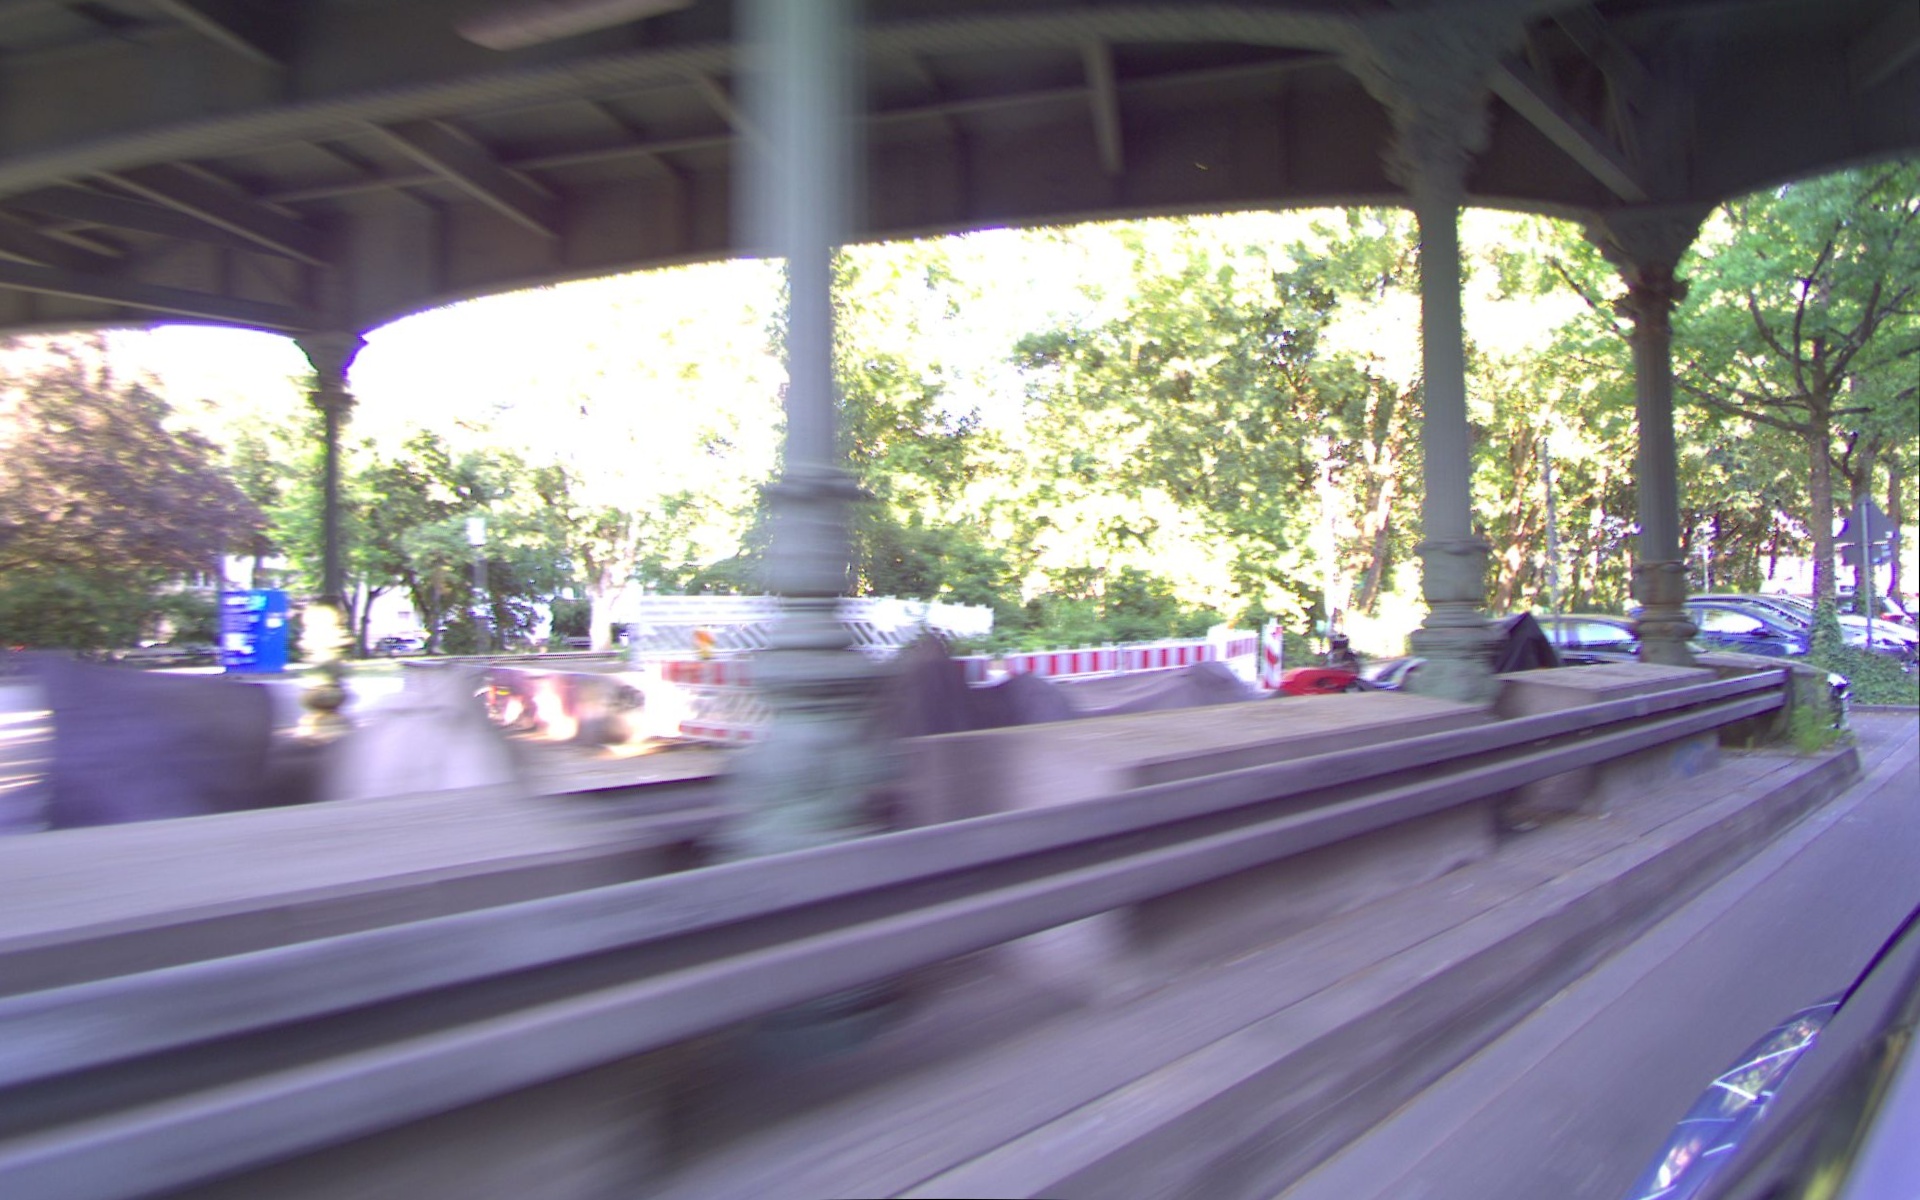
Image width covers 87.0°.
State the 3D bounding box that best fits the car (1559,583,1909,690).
[{"bbox_3d":[13.483,0.602,17.922,1.703,1.626,4.597,-2,0,-38],"label":"car"}]

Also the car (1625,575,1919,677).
[{"bbox_3d":[15.616,0.533,19.463,4.373,1.730,1.877,-4,-1,45],"label":"car"}]

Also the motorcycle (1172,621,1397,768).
[{"bbox_3d":[2.733,0.799,8.685,1.701,1.147,0.709,-3,-1,15],"label":"motorcycle"}]

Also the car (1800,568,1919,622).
[{"bbox_3d":[33.188,-0.192,36.562,1.766,1.780,3.996,-2,-1,-37],"label":"car"}]

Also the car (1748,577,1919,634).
[{"bbox_3d":[27.604,0.197,31.929,1.636,1.594,3.994,-2,-1,-39],"label":"car"}]

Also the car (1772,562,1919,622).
[{"bbox_3d":[31.178,-0.312,34.989,1.841,1.948,4.676,-2,2,-43],"label":"car"}]

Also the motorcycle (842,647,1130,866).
[{"bbox_3d":[0.140,0.904,6.227,1.592,1.147,0.704,-4,-1,32],"label":"motorcycle"}]

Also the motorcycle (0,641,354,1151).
[{"bbox_3d":[-2.845,0.890,3.784,0.698,1.426,1.608,-2,-1,-22],"label":"motorcycle"}]

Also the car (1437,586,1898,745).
[{"bbox_3d":[8.536,0.768,12.550,1.647,1.597,4.377,-2,-1,-43],"label":"car"}]

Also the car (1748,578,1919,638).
[{"bbox_3d":[26.110,0.252,30.068,1.561,1.594,3.989,-2,-1,-43],"label":"car"}]

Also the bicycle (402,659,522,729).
[{"bbox_3d":[-6.981,1.306,14.187,1.593,0.869,0.521,1,0,18],"label":"bicycle"}]

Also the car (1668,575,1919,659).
[{"bbox_3d":[19.099,0.419,23.053,1.876,1.717,4.535,-2,-1,-43],"label":"car"}]

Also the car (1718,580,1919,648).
[{"bbox_3d":[22.454,0.396,26.384,1.561,1.594,4.023,-2,-1,-43],"label":"car"}]

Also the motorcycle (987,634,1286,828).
[{"bbox_3d":[1.205,0.856,6.922,1.818,1.147,0.843,-3,-1,25],"label":"motorcycle"}]

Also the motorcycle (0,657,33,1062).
[{"bbox_3d":[-3.541,0.915,2.935,0.698,1.426,1.608,-2,-1,-22],"label":"motorcycle"}]

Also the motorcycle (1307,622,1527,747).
[{"bbox_3d":[4.229,0.782,9.506,1.701,1.043,0.809,-3,-1,15],"label":"motorcycle"}]

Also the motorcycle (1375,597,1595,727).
[{"bbox_3d":[5.439,0.645,10.646,1.914,1.254,0.897,-3,-1,24],"label":"motorcycle"}]

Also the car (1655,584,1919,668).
[{"bbox_3d":[17.403,0.566,21.170,1.845,1.552,4.377,-2,-1,-43],"label":"car"}]

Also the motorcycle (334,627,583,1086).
[{"bbox_3d":[-1.950,0.847,4.117,0.698,1.426,1.608,-2,-1,-22],"label":"motorcycle"}]
